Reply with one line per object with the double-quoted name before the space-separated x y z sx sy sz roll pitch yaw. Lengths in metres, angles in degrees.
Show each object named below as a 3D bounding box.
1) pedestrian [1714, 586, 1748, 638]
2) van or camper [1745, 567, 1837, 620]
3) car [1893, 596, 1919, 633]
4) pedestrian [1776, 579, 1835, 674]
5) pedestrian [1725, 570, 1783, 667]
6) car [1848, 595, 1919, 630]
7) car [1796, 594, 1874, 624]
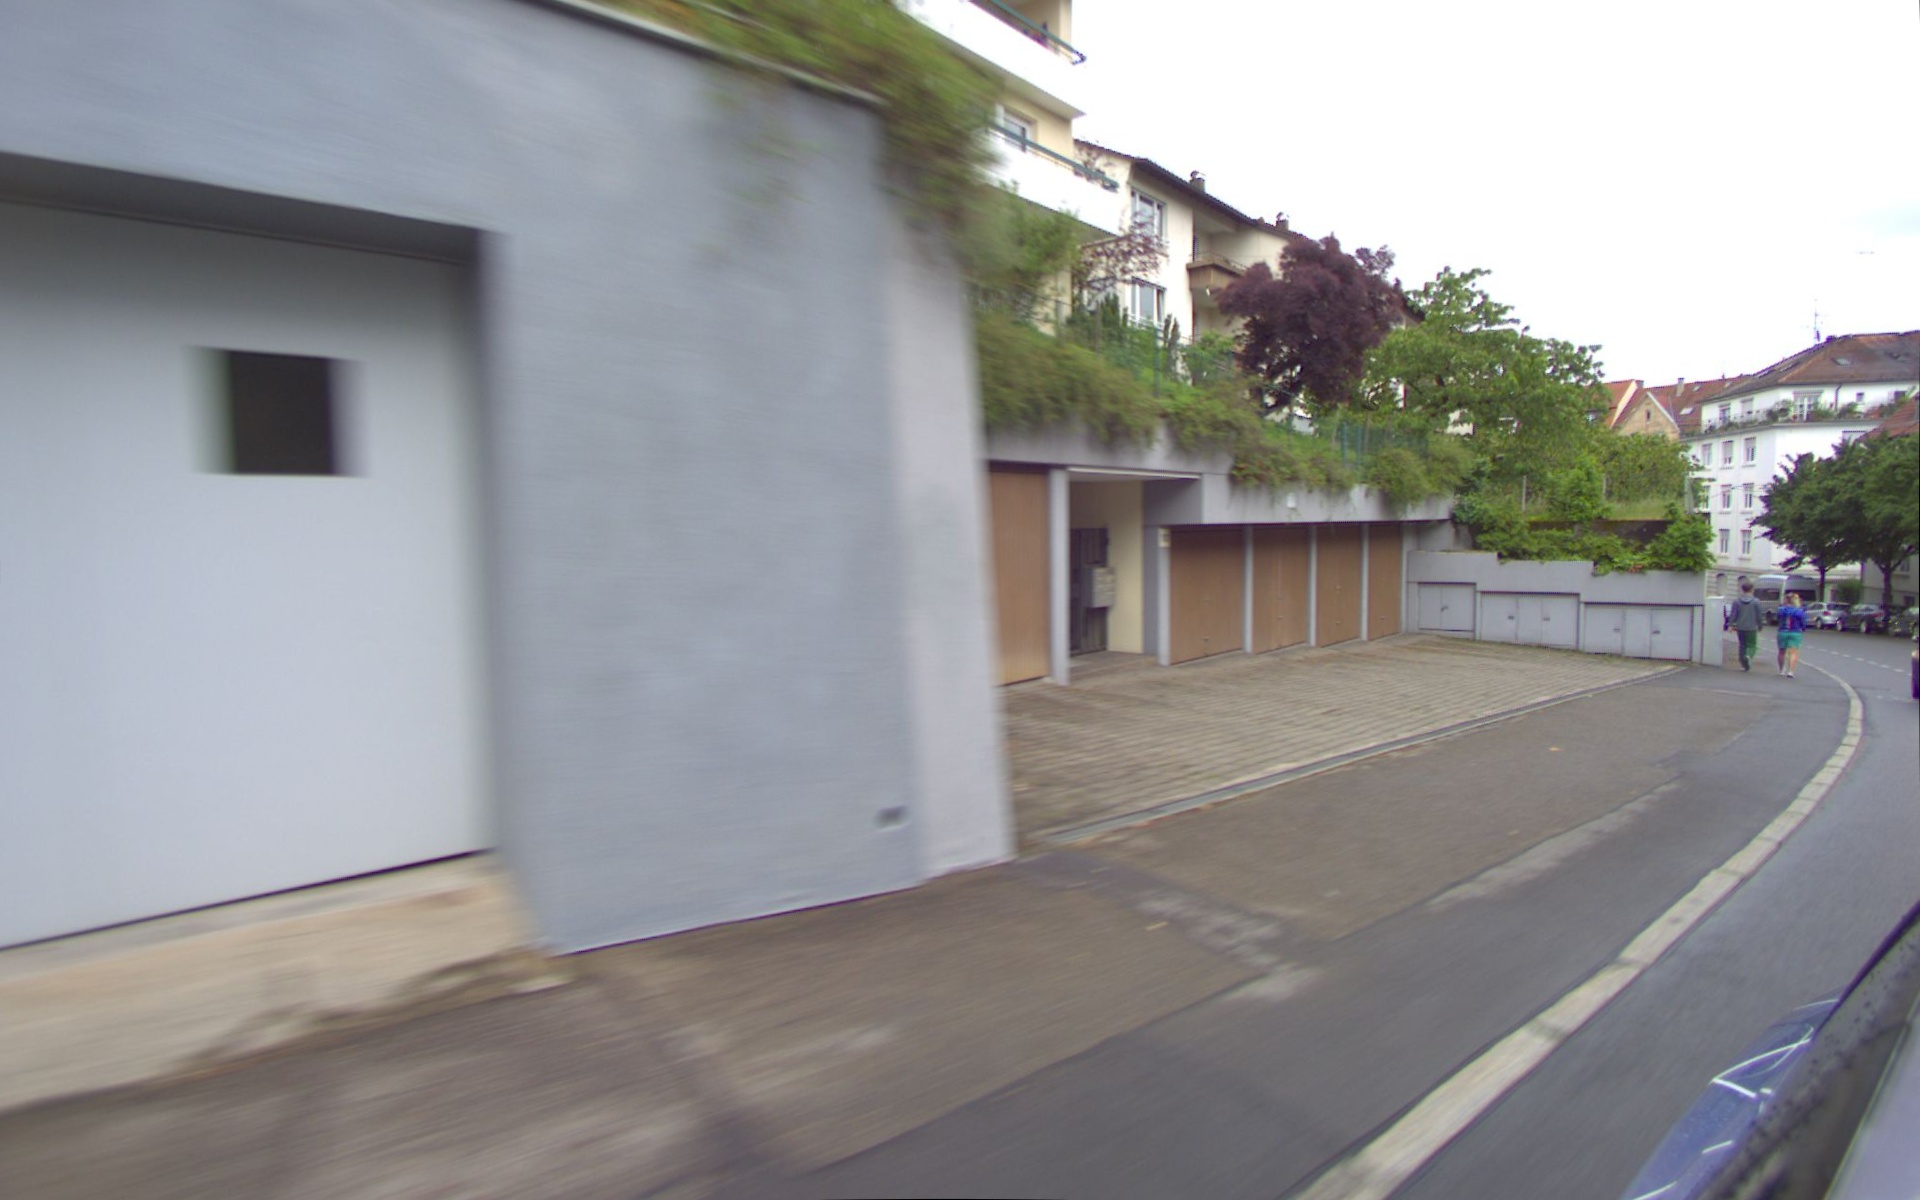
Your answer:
"pedestrian" 28.443 0.429 37.349 0.896 1.873 0.793 1 1 35
"van or camper" 48.297 -0.415 58.996 2.046 2.895 5.715 2 1 18
"car" 42.058 0.624 43.426 1.776 1.512 4.600 0 1 27
"pedestrian" 16.738 0.496 20.060 0.774 1.779 0.997 5 4 40
"pedestrian" 16.167 0.365 20.602 0.775 1.854 1.233 5 3 39
"car" 44.221 0.558 47.954 1.773 1.511 4.465 2 2 22
"car" 46.288 0.441 53.610 1.569 1.427 4.026 1 1 17
